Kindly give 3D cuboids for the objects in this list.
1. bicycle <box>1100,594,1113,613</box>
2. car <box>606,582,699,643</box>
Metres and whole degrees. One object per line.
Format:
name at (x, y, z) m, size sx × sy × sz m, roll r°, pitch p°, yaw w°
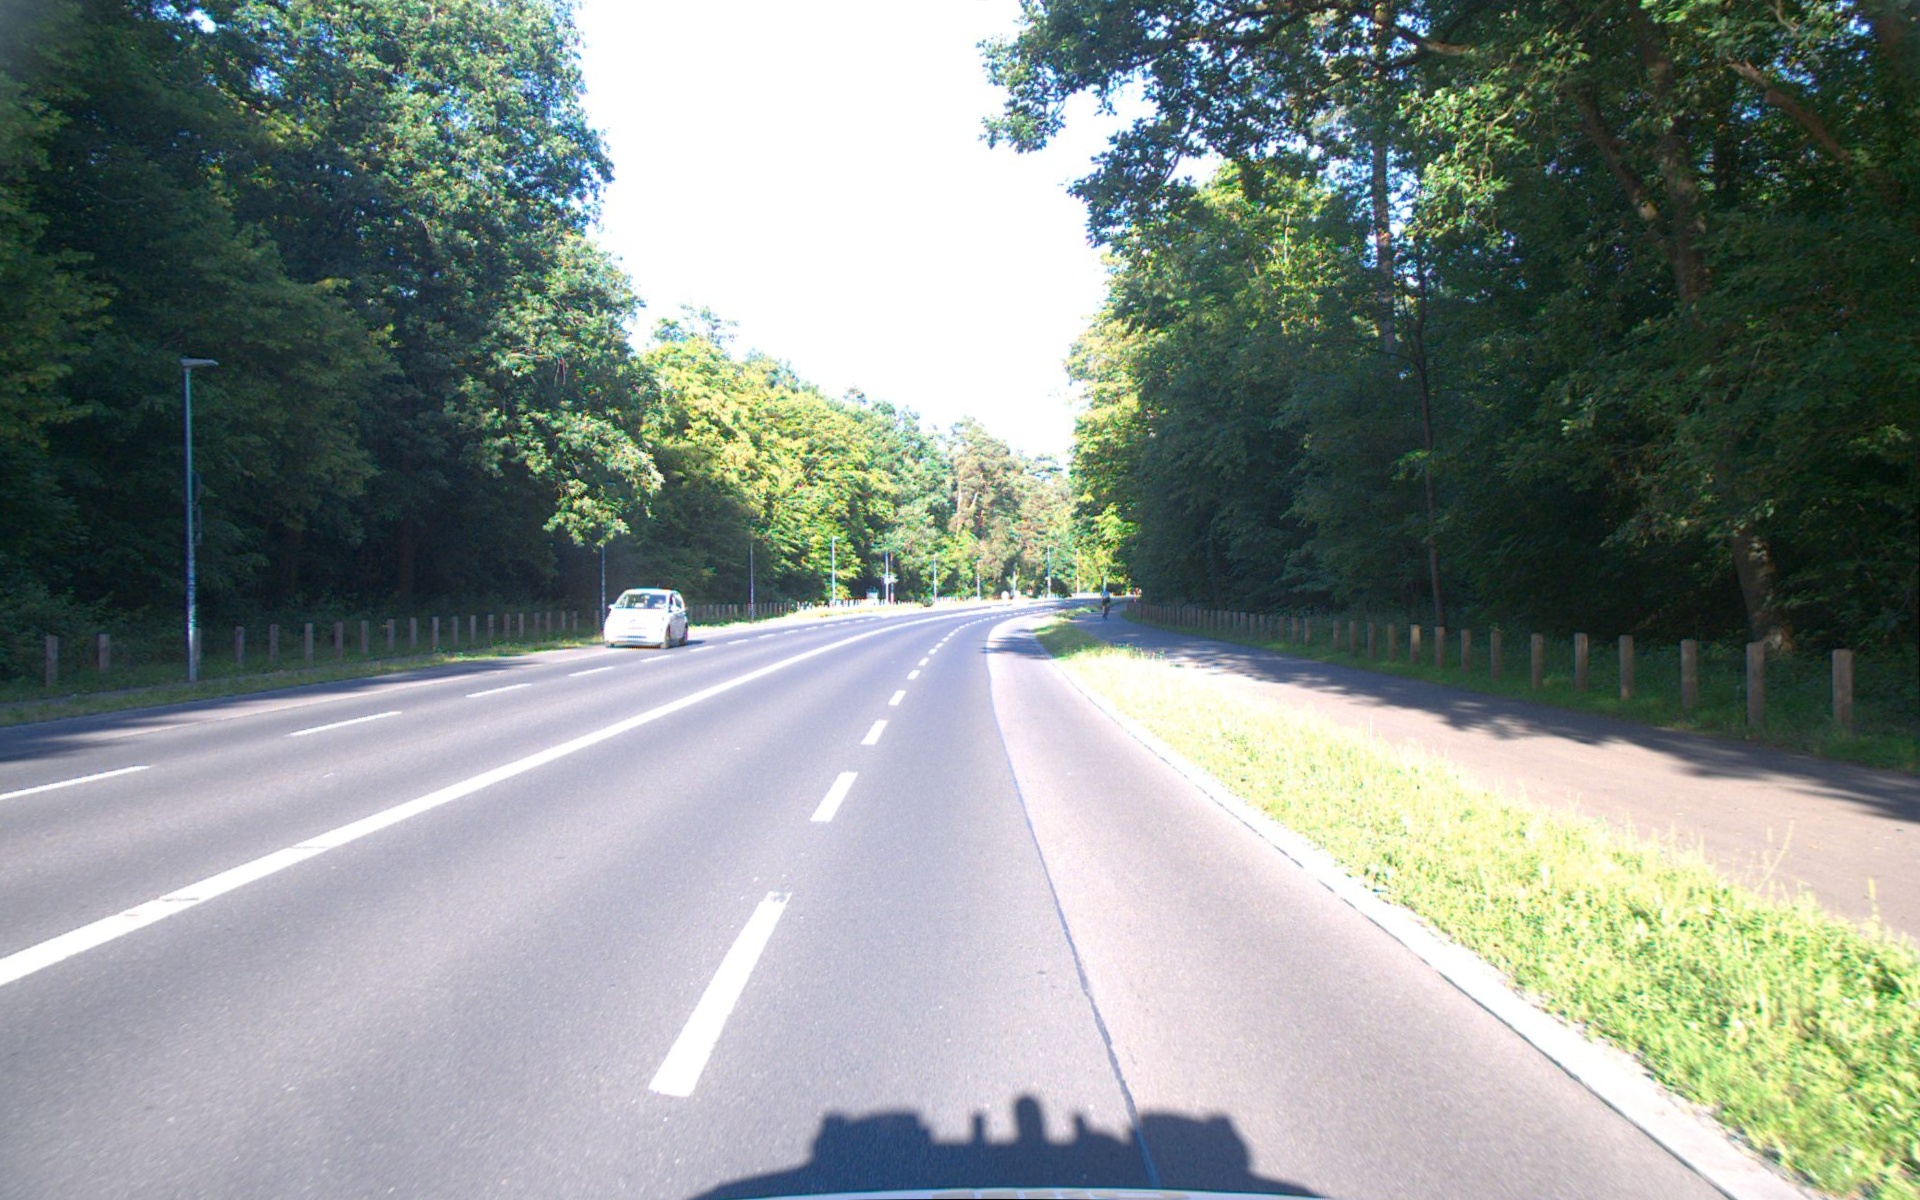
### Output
bicycle at (8.201, 0.183, 92.606) m, size 0.697 × 1.074 × 2.054 m, roll 0°, pitch 0°, yaw 5°
car at (-8.010, 0.310, 43.392) m, size 1.555 × 1.462 × 4.309 m, roll 2°, pitch 0°, yaw 1°
